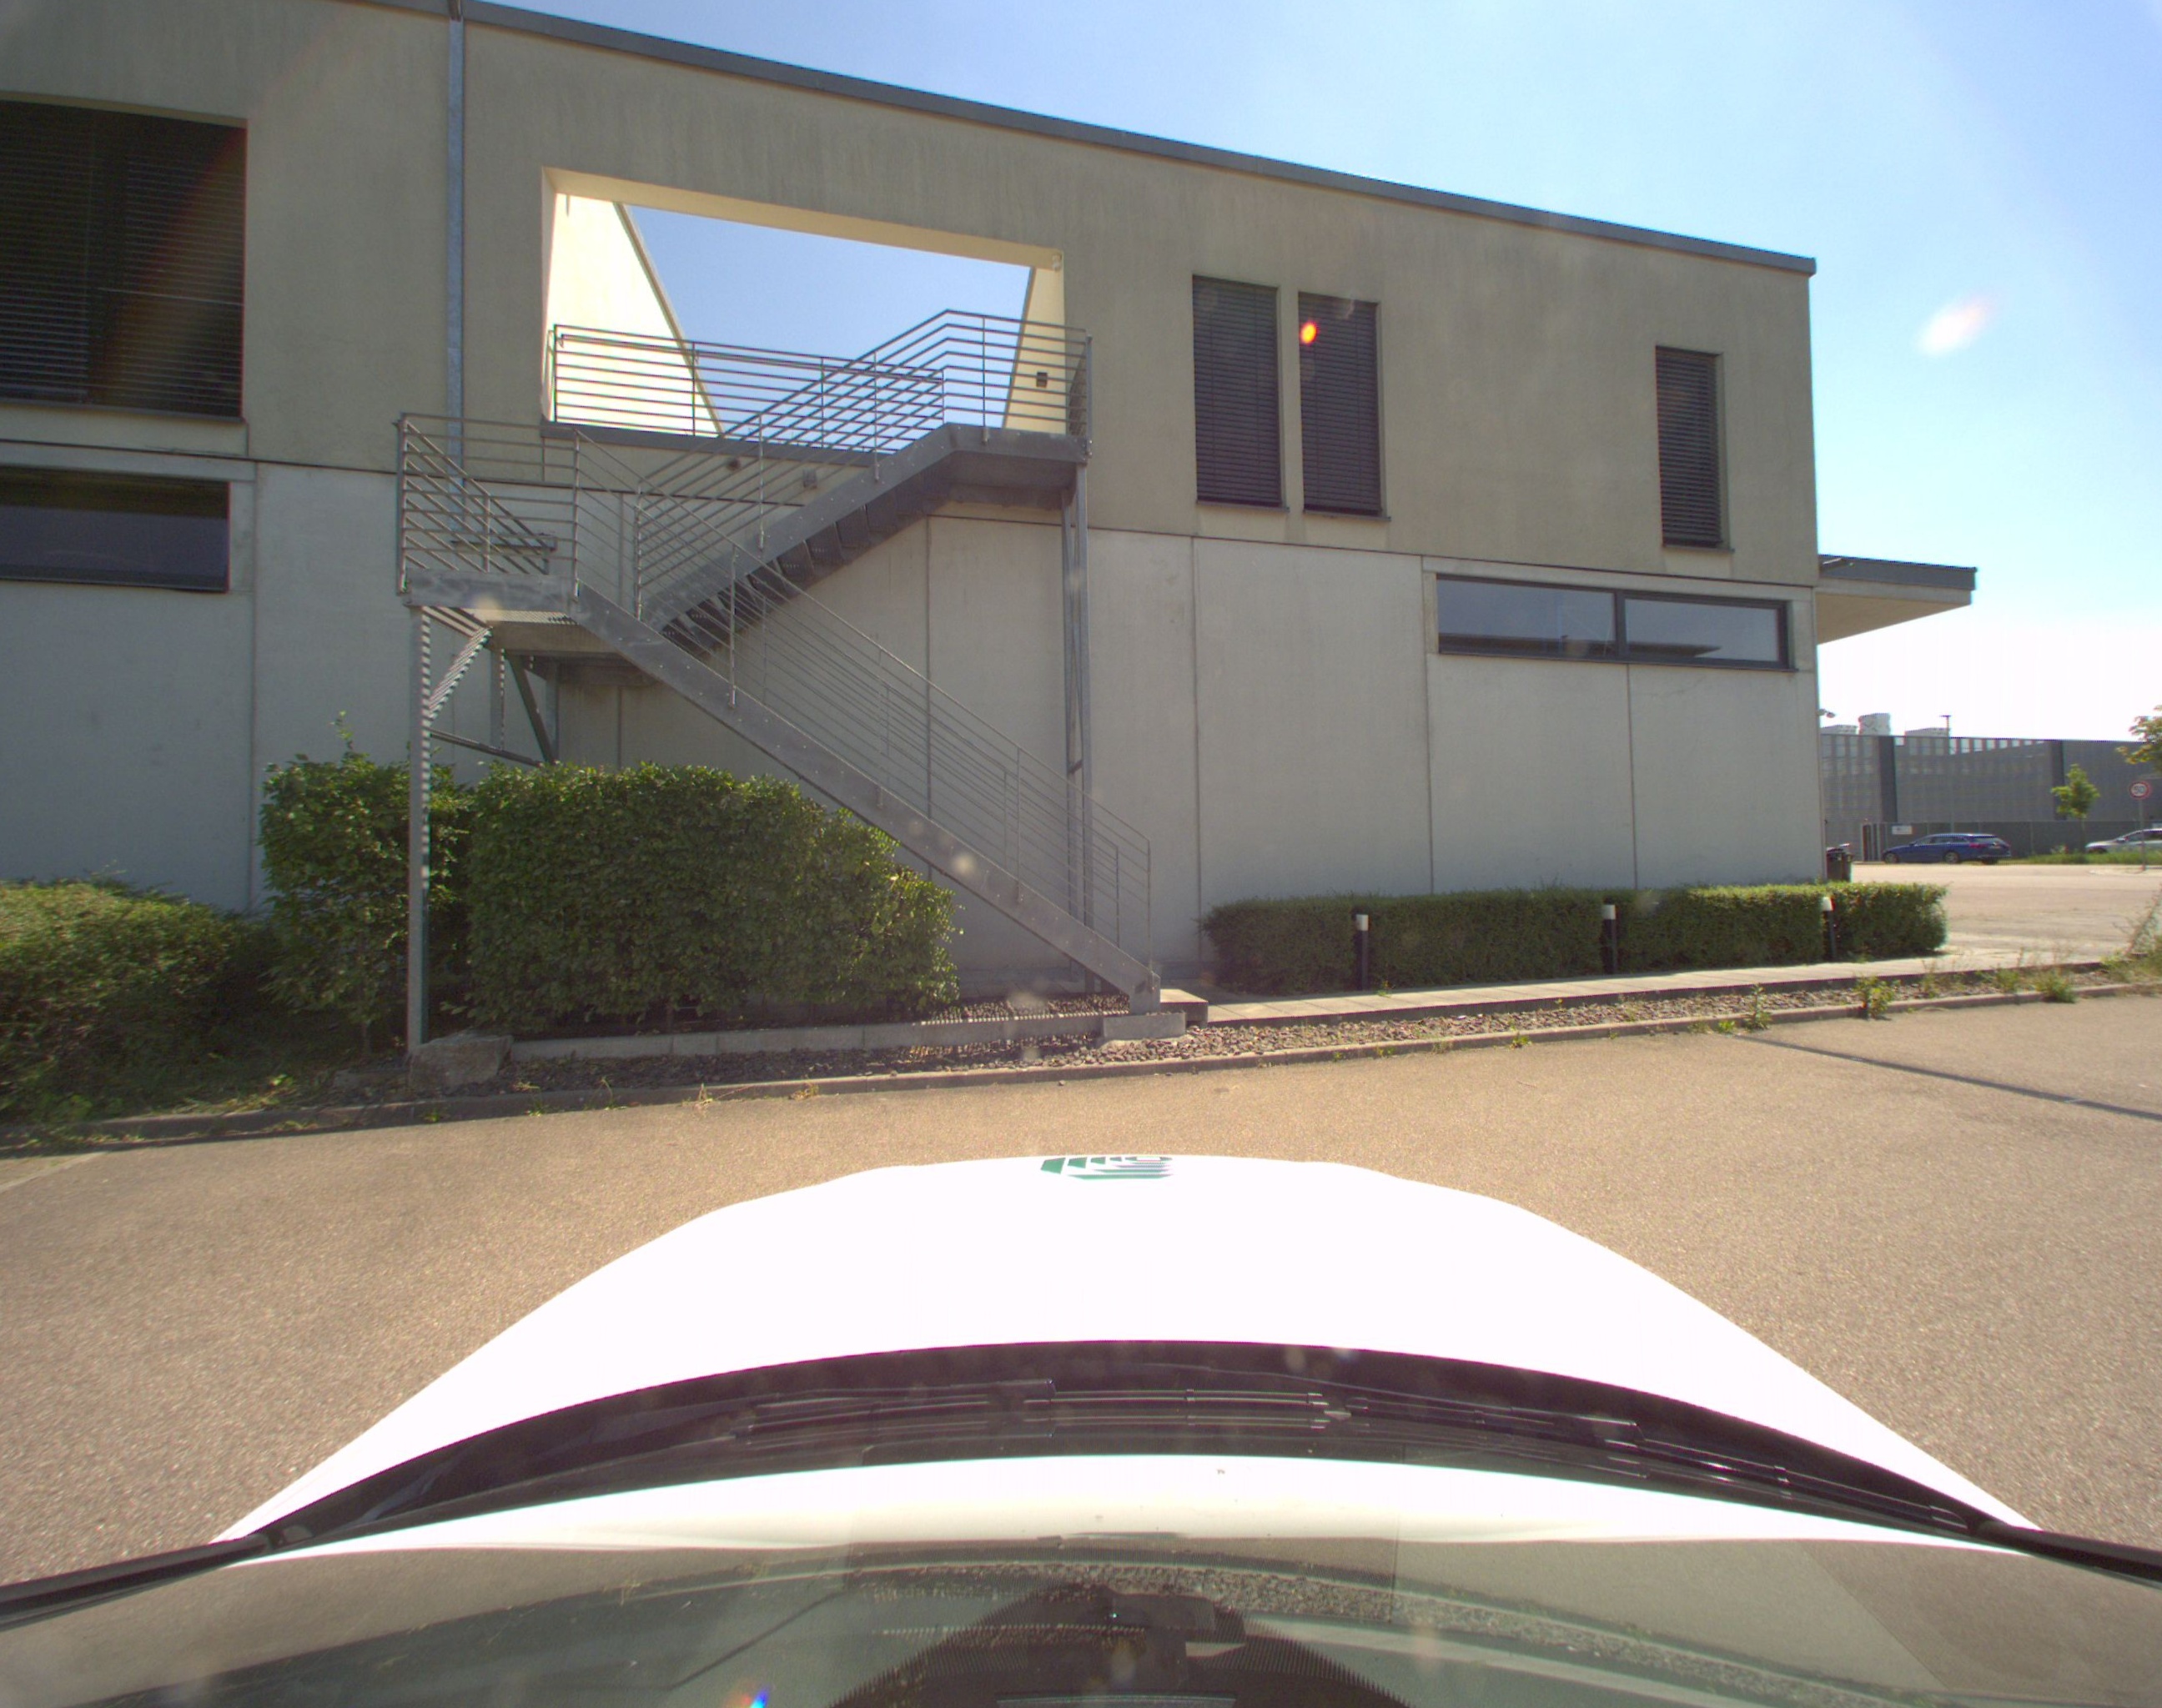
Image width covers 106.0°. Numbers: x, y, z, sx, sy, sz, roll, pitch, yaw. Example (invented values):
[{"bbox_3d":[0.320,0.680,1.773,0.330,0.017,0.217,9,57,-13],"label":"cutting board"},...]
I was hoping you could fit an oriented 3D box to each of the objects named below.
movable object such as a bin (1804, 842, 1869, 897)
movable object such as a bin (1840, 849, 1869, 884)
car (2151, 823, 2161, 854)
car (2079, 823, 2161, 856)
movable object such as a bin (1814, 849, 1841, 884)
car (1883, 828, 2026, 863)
[{"bbox_3d":[19.279,0.397,20.789,0.880,1.345,0.811,-1,-1,-7],"label":"movable object such as a bin"},{"bbox_3d":[22.943,0.365,24.159,0.571,1.036,0.428,-2,-1,45],"label":"movable object such as a bin"},{"bbox_3d":[53.997,-0.795,37.941,1.986,1.491,4.857,-2,0,2],"label":"car"},{"bbox_3d":[50.978,-0.706,38.395,1.986,1.491,4.857,-2,0,2],"label":"car"},{"bbox_3d":[22.530,0.376,24.580,0.574,1.027,0.428,-2,-1,45],"label":"movable object such as a bin"},{"bbox_3d":[41.140,-0.378,38.529,1.986,1.491,4.517,-2,0,2],"label":"car"}]
